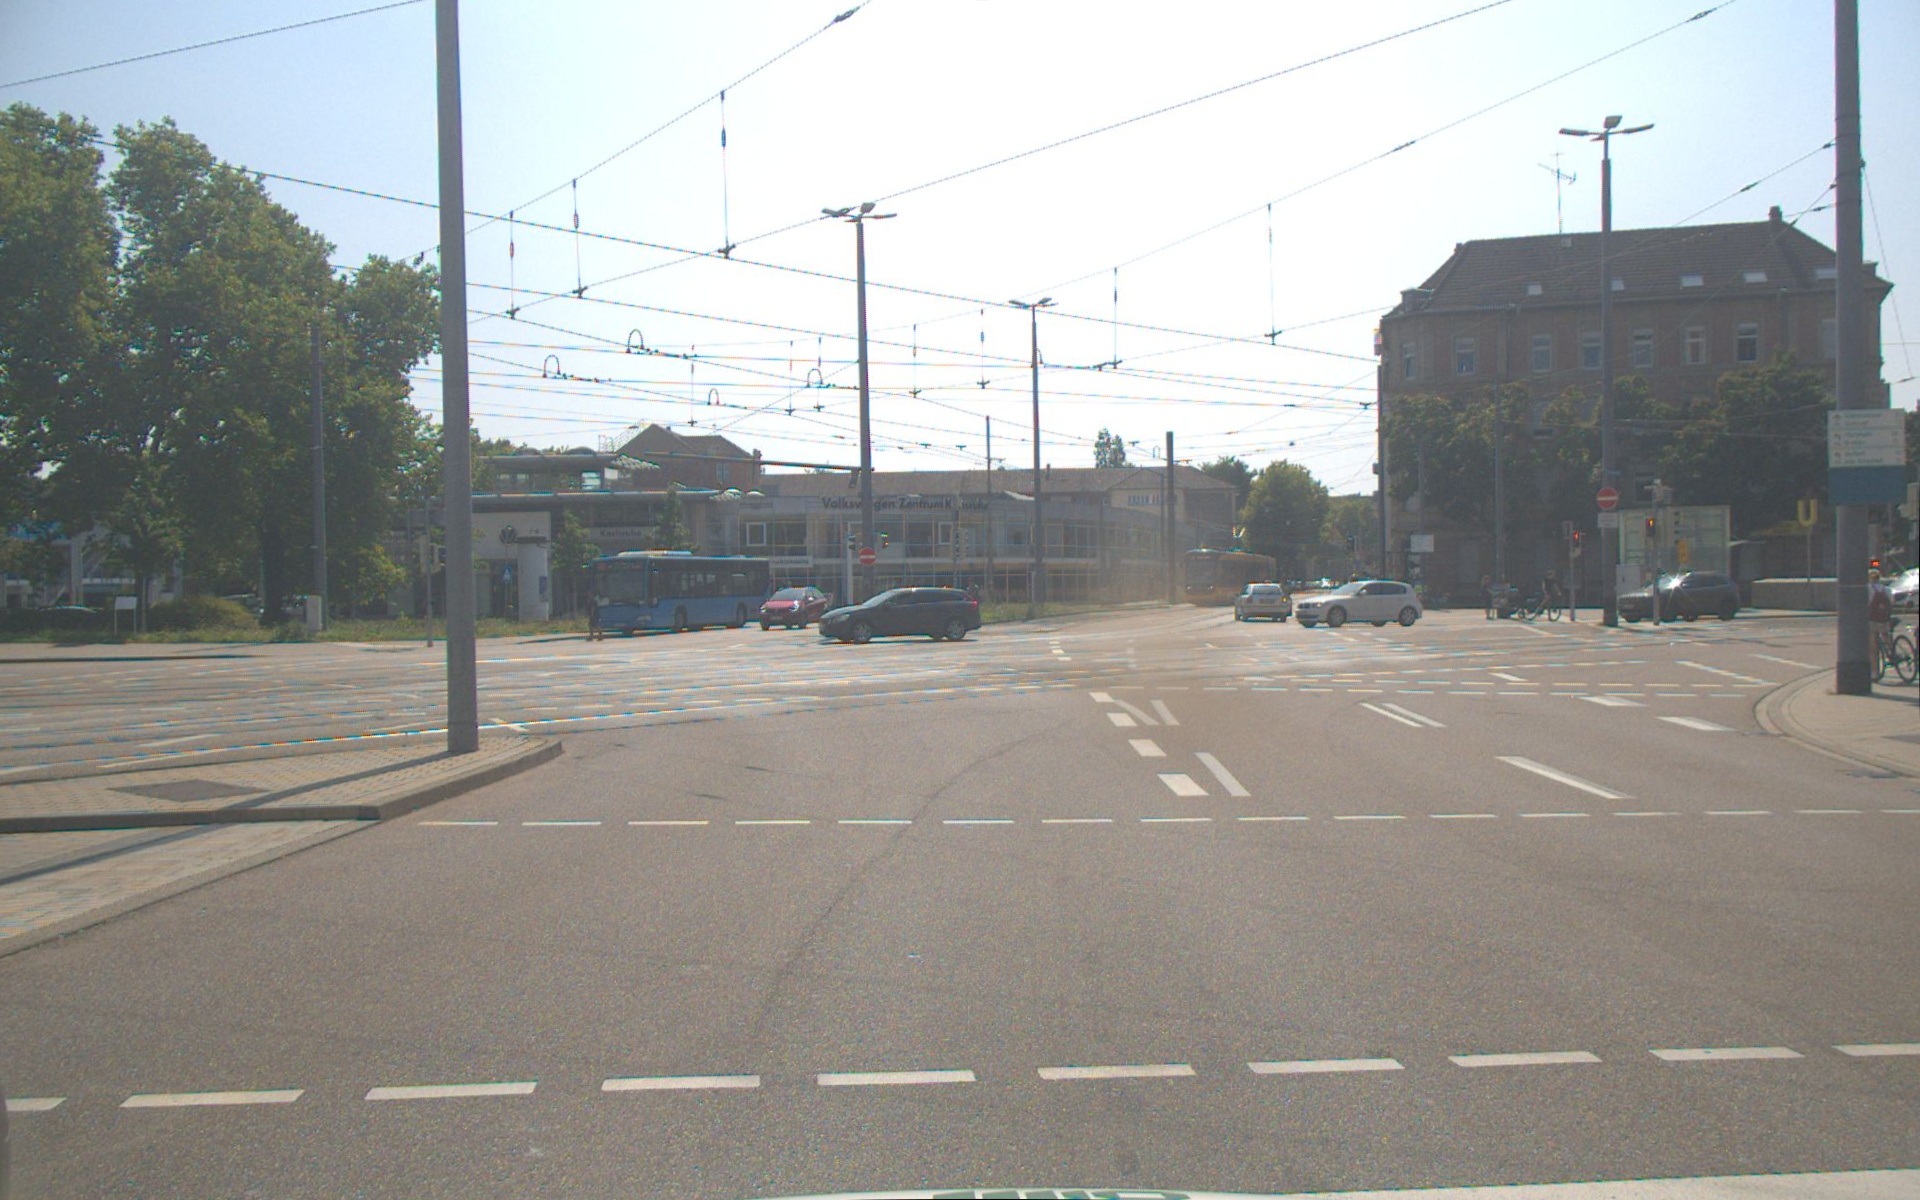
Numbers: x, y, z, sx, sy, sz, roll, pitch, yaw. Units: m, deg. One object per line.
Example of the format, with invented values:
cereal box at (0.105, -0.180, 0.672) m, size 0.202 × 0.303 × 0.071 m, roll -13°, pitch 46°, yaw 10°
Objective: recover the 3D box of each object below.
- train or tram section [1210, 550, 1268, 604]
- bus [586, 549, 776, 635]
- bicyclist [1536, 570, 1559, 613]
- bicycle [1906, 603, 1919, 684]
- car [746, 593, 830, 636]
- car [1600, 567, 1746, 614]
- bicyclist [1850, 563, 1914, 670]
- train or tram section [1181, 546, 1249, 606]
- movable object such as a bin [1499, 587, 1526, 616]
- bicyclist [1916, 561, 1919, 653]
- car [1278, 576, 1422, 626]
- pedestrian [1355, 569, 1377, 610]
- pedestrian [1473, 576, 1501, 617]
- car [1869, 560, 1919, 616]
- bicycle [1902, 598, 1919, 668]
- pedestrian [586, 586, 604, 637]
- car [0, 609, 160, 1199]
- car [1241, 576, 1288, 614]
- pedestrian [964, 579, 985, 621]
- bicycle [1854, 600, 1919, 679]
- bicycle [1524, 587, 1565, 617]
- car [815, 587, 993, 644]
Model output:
train or tram section at (19.422, -1.574, 114.766) m, size 2.534 × 3.578 × 9.663 m, roll -1°, pitch 0°, yaw 18°
bus at (-10.892, -0.338, 66.441) m, size 2.508 × 3.136 × 12.031 m, roll -1°, pitch 0°, yaw 16°
bicyclist at (21.459, -0.298, 60.386) m, size 0.603 × 1.555 × 0.517 m, roll -1°, pitch 0°, yaw -25°
bicycle at (13.075, 0.584, 21.617) m, size 0.481 × 1.073 × 1.824 m, roll -1°, pitch 0°, yaw 4°
car at (-6.543, 0.531, 63.230) m, size 1.713 × 1.579 × 4.002 m, roll -1°, pitch 0°, yaw 17°
car at (24.497, -0.327, 56.814) m, size 4.545 × 1.531 × 1.987 m, roll -1°, pitch 0°, yaw -21°
bicyclist at (13.444, 0.236, 24.128) m, size 0.614 × 1.544 × 0.712 m, roll -1°, pitch 0°, yaw 12°
train or tram section at (16.291, -1.508, 104.961) m, size 2.534 × 3.578 × 10.904 m, roll -1°, pitch 0°, yaw 18°
movable object such as a bin at (20.891, 0.060, 62.556) m, size 0.798 × 1.096 × 0.510 m, roll -1°, pitch 0°, yaw -11°
bicyclist at (14.980, 0.108, 25.120) m, size 0.519 × 1.417 × 0.894 m, roll -1°, pitch 0°, yaw 12°
car at (12.167, 0.009, 51.575) m, size 4.128 × 1.440 × 1.765 m, roll -1°, pitch 0°, yaw -21°
pedestrian at (16.542, -0.434, 67.443) m, size 0.686 × 1.631 × 0.572 m, roll -1°, pitch 0°, yaw -8°
pedestrian at (20.029, -0.133, 62.832) m, size 0.834 × 1.572 × 0.528 m, roll -1°, pitch 0°, yaw -9°
car at (36.676, -0.473, 62.509) m, size 4.560 × 2.049 × 1.981 m, roll -1°, pitch 0°, yaw -29°
bicycle at (15.073, 0.517, 25.433) m, size 0.525 × 1.073 × 1.655 m, roll -1°, pitch 0°, yaw 12°
pedestrian at (-12.361, 0.391, 56.039) m, size 0.544 × 1.713 × 0.452 m, roll -1°, pitch 0°, yaw -19°
car at (-2.531, 0.727, 1.362) m, size 1.728 × 1.412 × 3.783 m, roll 1°, pitch 0°, yaw 3°
car at (11.987, -0.213, 65.079) m, size 1.732 × 1.440 × 4.193 m, roll -1°, pitch 0°, yaw 10°
pedestrian at (0.510, -0.010, 59.087) m, size 0.666 × 1.468 × 0.364 m, roll -1°, pitch 0°, yaw -18°
bicycle at (13.435, 0.550, 23.805) m, size 0.525 × 1.073 × 1.655 m, roll -1°, pitch 0°, yaw 12°
bicycle at (21.386, 0.068, 60.560) m, size 0.462 × 1.073 × 1.643 m, roll -1°, pitch 0°, yaw -20°
car at (-1.580, 0.411, 46.367) m, size 4.684 × 1.440 × 1.765 m, roll -1°, pitch 0°, yaw -20°
